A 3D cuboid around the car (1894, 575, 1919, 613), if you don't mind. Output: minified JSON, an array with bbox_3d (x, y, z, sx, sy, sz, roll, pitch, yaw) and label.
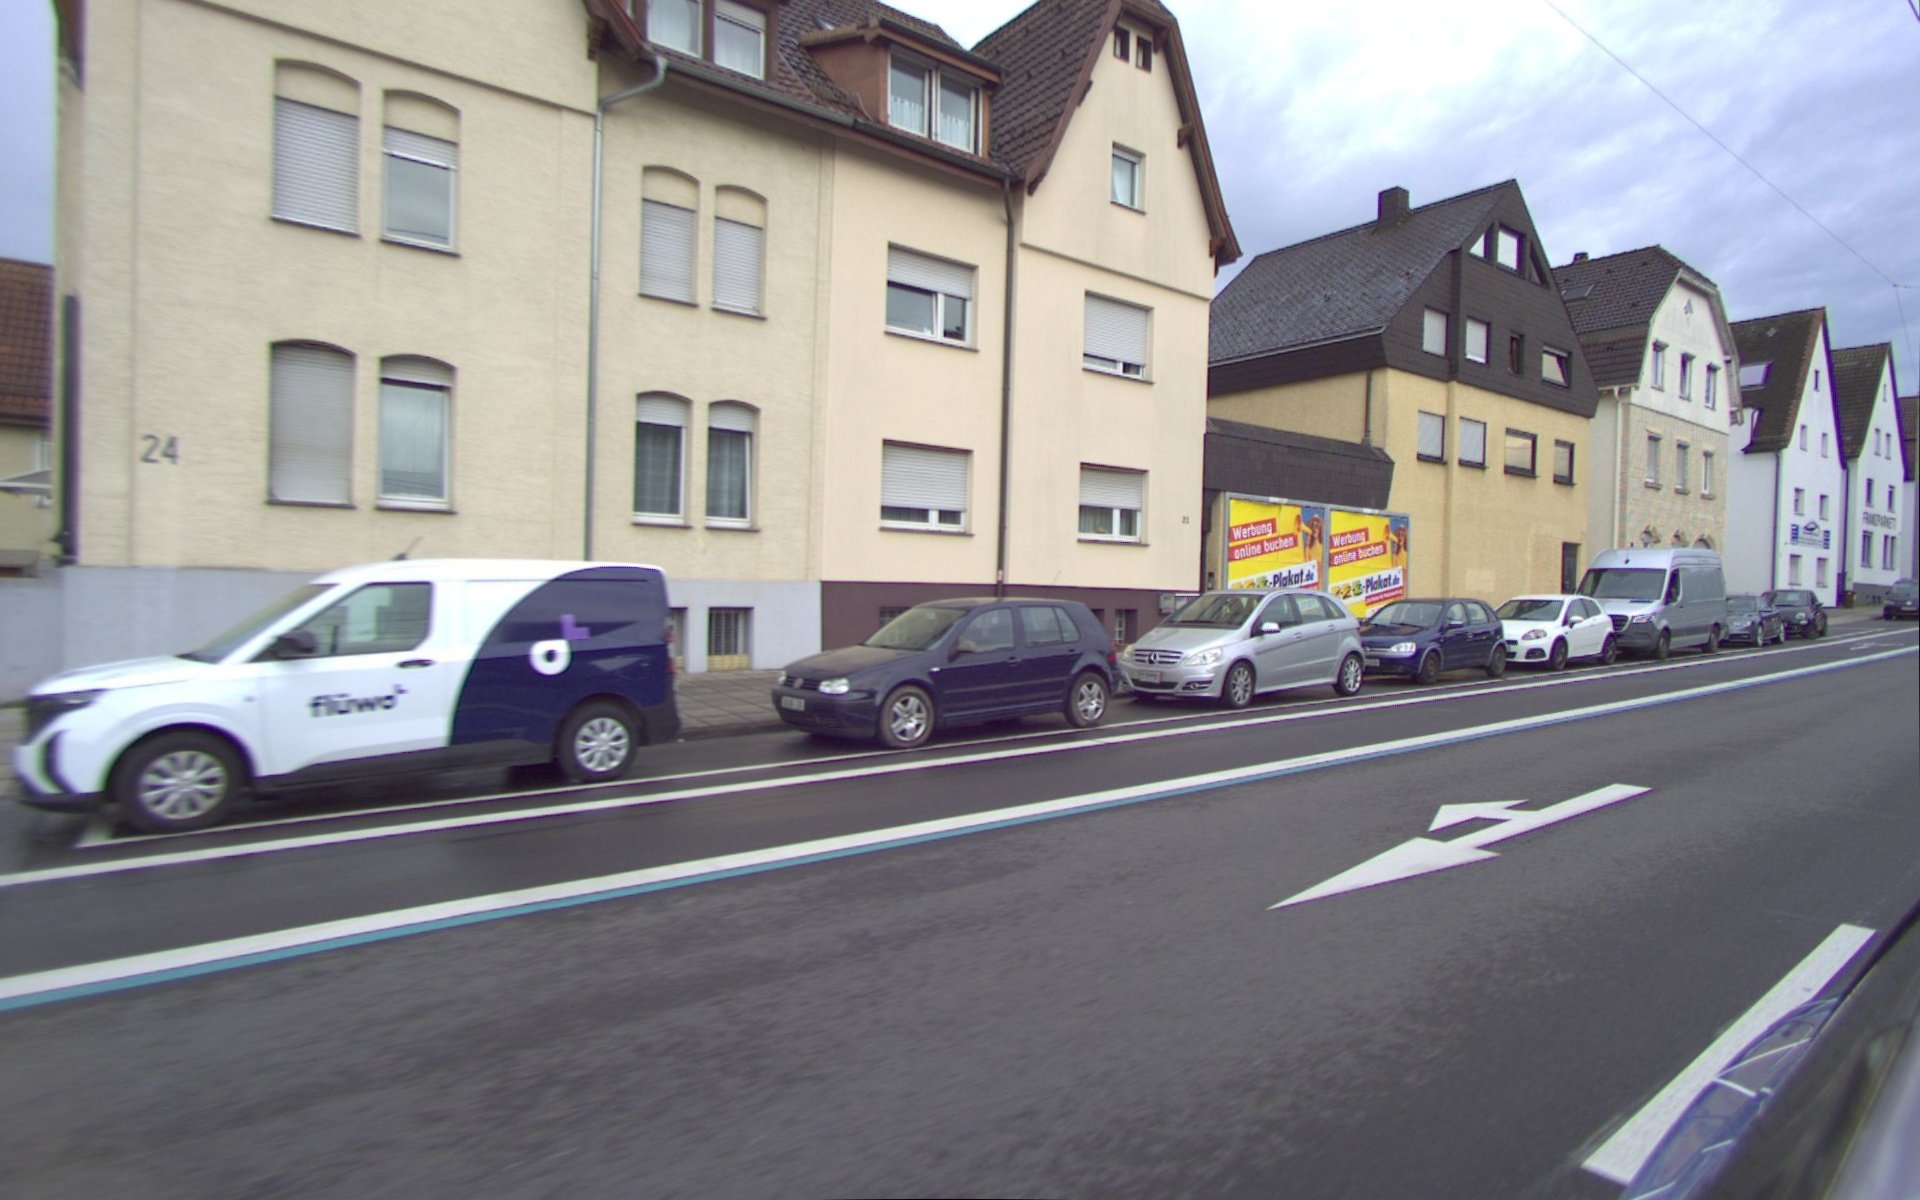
[{"bbox_3d":[41.142,-0.294,42.757,4.123,1.567,1.727,-1,1,-37],"label":"car"}]

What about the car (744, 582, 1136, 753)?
[{"bbox_3d":[-0.109,0.582,10.966,4.061,1.531,1.691,0,0,-38],"label":"car"}]

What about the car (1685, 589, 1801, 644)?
[{"bbox_3d":[21.814,0.408,28.152,4.012,1.362,1.726,-1,1,-40],"label":"car"}]

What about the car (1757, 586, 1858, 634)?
[{"bbox_3d":[26.591,0.262,31.712,4.126,1.362,1.726,-1,1,-40],"label":"car"}]

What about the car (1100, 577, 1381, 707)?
[{"bbox_3d":[4.090,0.489,14.449,4.204,1.586,1.705,-1,1,-38],"label":"car"}]

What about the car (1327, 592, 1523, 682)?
[{"bbox_3d":[8.218,0.570,17.775,3.722,1.419,1.605,0,0,-38],"label":"car"}]

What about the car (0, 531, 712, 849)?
[{"bbox_3d":[-4.361,0.491,7.769,4.442,1.779,1.850,0,0,-41],"label":"car"}]

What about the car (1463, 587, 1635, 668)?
[{"bbox_3d":[12.066,0.494,20.640,4.124,1.483,1.605,-1,0,-38],"label":"car"}]

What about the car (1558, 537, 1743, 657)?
[{"bbox_3d":[16.503,-0.121,24.048,5.814,2.530,2.044,-1,1,-39],"label":"car"}]
